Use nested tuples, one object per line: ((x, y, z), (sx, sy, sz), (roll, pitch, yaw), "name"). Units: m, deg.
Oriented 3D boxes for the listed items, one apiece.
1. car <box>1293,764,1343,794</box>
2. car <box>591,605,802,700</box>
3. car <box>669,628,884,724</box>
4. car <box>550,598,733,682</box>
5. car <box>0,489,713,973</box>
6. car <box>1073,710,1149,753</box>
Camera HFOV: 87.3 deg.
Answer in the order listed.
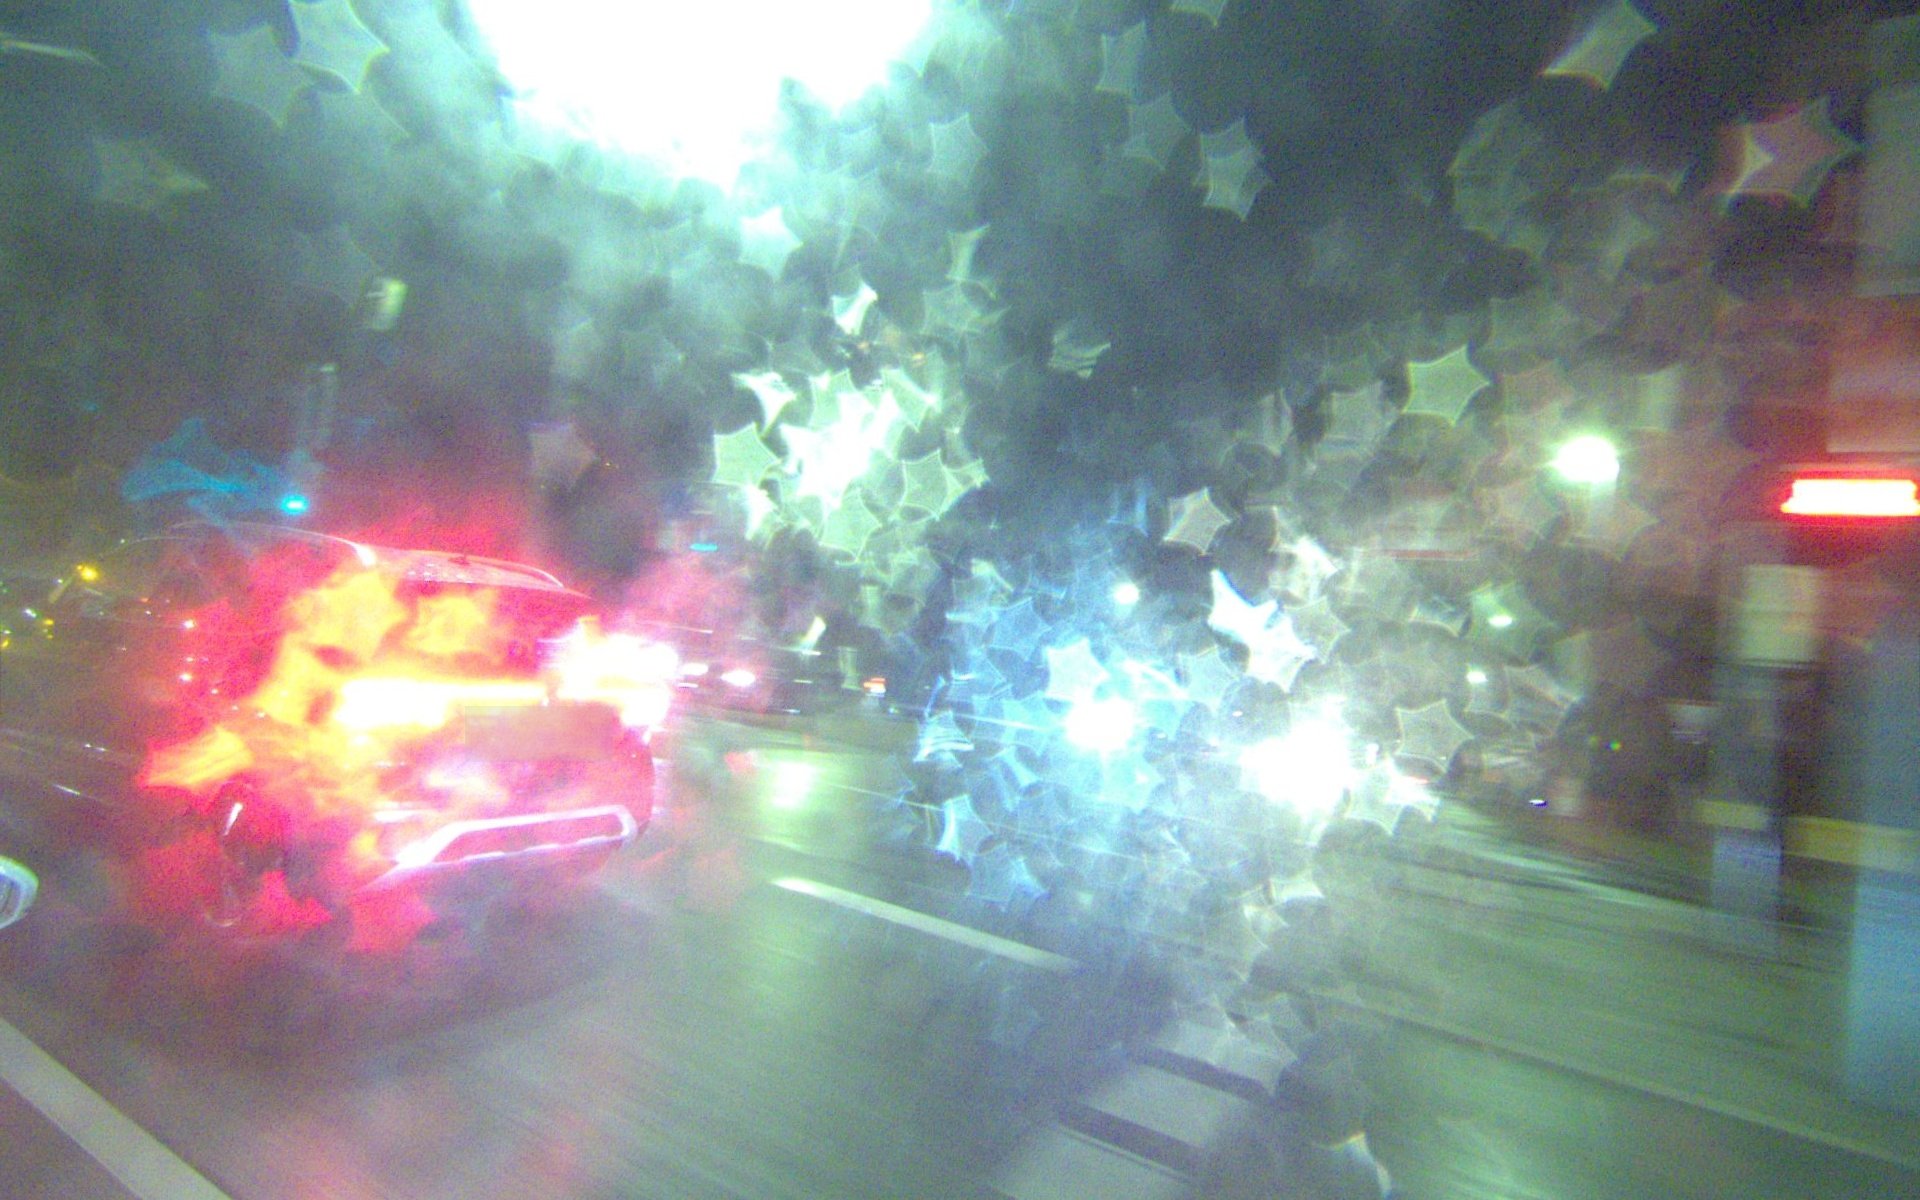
((20.756, 10.326, 58.226), (1.719, 1.360, 3.908), (7, -4, 33), "car")
((-6.000, 1.278, 23.430), (1.828, 1.535, 4.492), (7, -4, 35), "car")
((-3.532, 1.569, 20.079), (1.719, 1.360, 4.051), (7, -4, 35), "car")
((-8.197, 1.094, 26.237), (1.828, 1.535, 4.172), (7, -4, 35), "car")
((-3.389, 0.427, 5.021), (3.891, 1.537, 1.683), (5, -4, 27), "car")
((7.316, 6.364, 48.478), (1.798, 1.658, 3.993), (7, -3, 36), "car")
